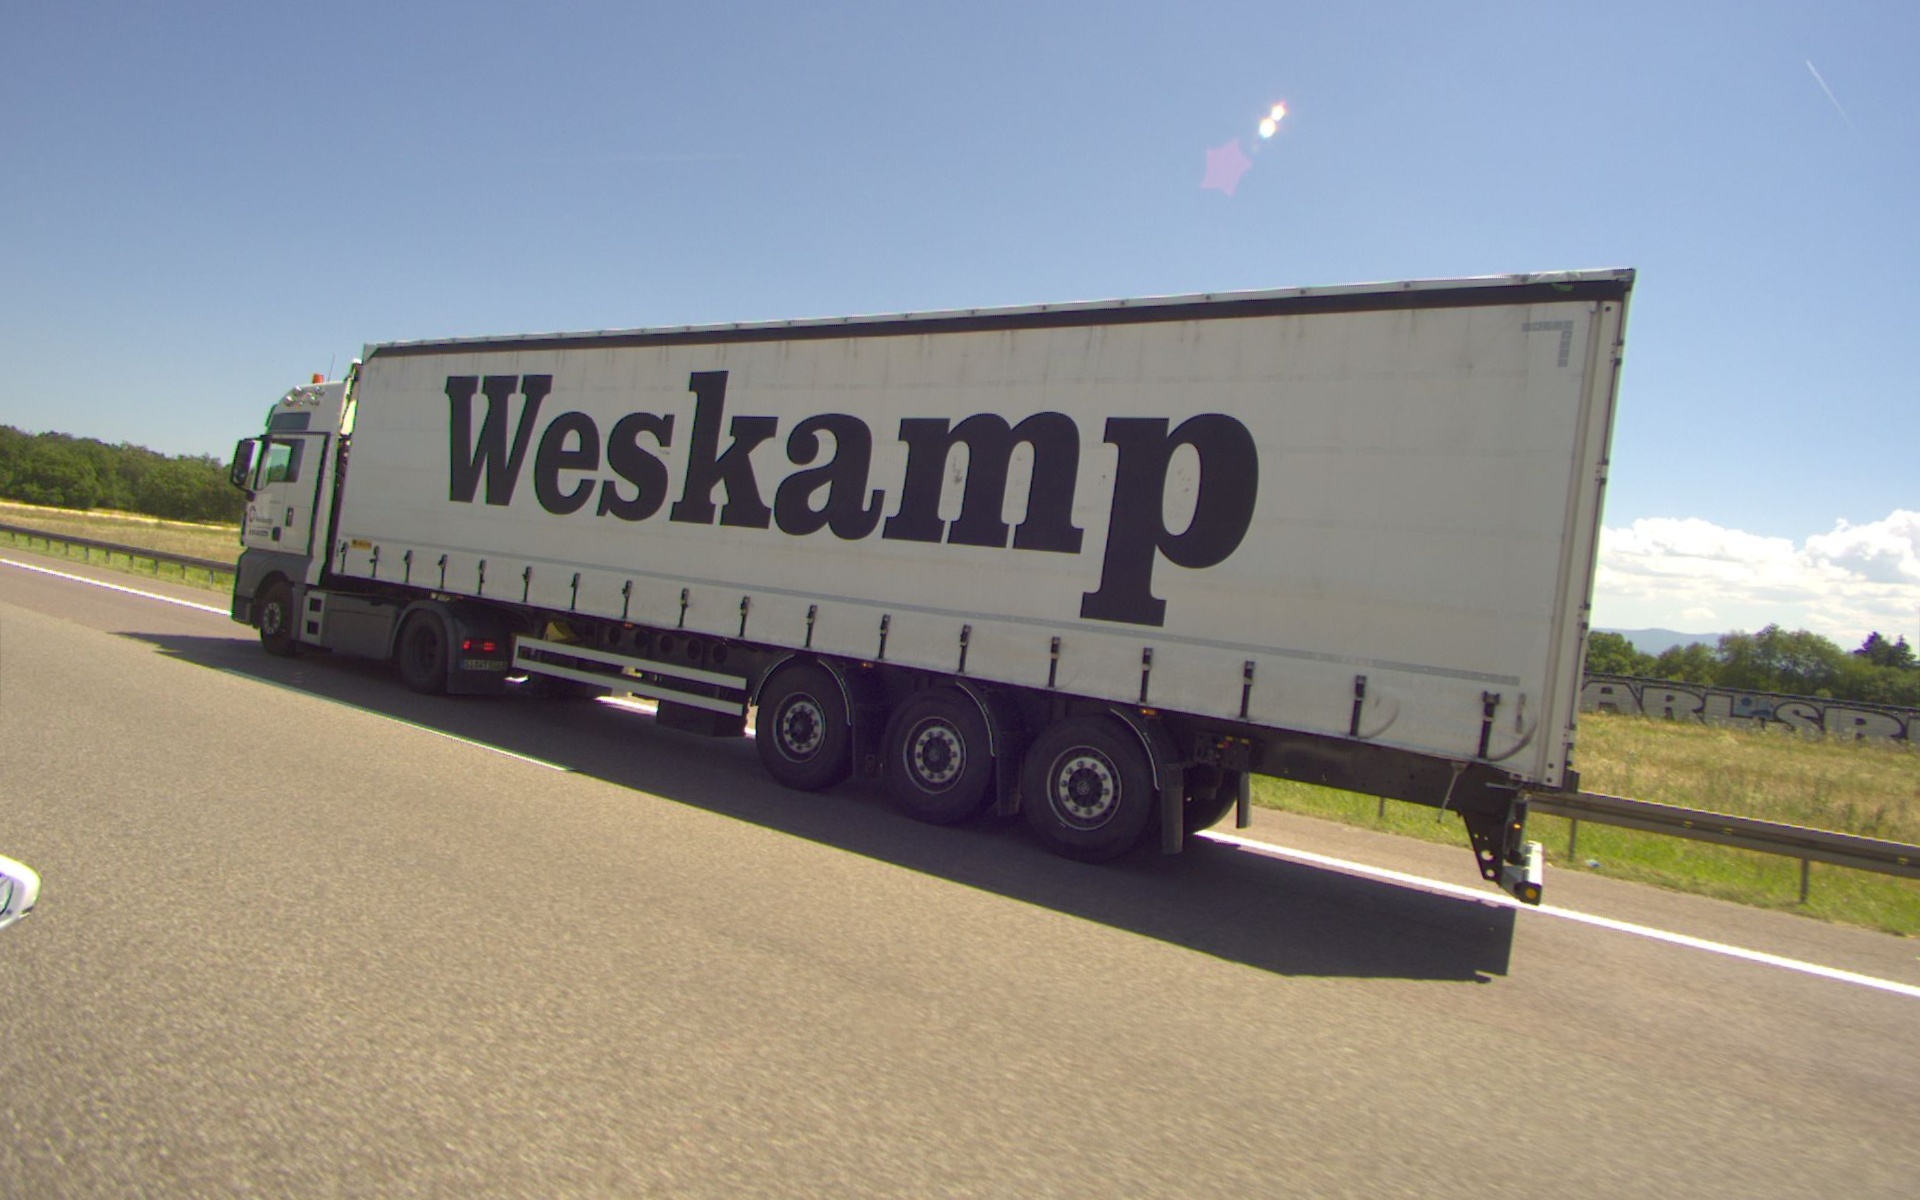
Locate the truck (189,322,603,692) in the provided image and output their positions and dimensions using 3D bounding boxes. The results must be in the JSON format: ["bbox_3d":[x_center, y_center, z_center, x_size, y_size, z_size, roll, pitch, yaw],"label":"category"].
[{"bbox_3d":[-8.016,-1.231,14.222,5.005,4.306,2.605,7,-1,32],"label":"truck"}]

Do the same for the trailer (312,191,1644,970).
[{"bbox_3d":[-1.498,-0.558,10.154,13.415,4.301,2.600,6,-2,32],"label":"trailer"}]
